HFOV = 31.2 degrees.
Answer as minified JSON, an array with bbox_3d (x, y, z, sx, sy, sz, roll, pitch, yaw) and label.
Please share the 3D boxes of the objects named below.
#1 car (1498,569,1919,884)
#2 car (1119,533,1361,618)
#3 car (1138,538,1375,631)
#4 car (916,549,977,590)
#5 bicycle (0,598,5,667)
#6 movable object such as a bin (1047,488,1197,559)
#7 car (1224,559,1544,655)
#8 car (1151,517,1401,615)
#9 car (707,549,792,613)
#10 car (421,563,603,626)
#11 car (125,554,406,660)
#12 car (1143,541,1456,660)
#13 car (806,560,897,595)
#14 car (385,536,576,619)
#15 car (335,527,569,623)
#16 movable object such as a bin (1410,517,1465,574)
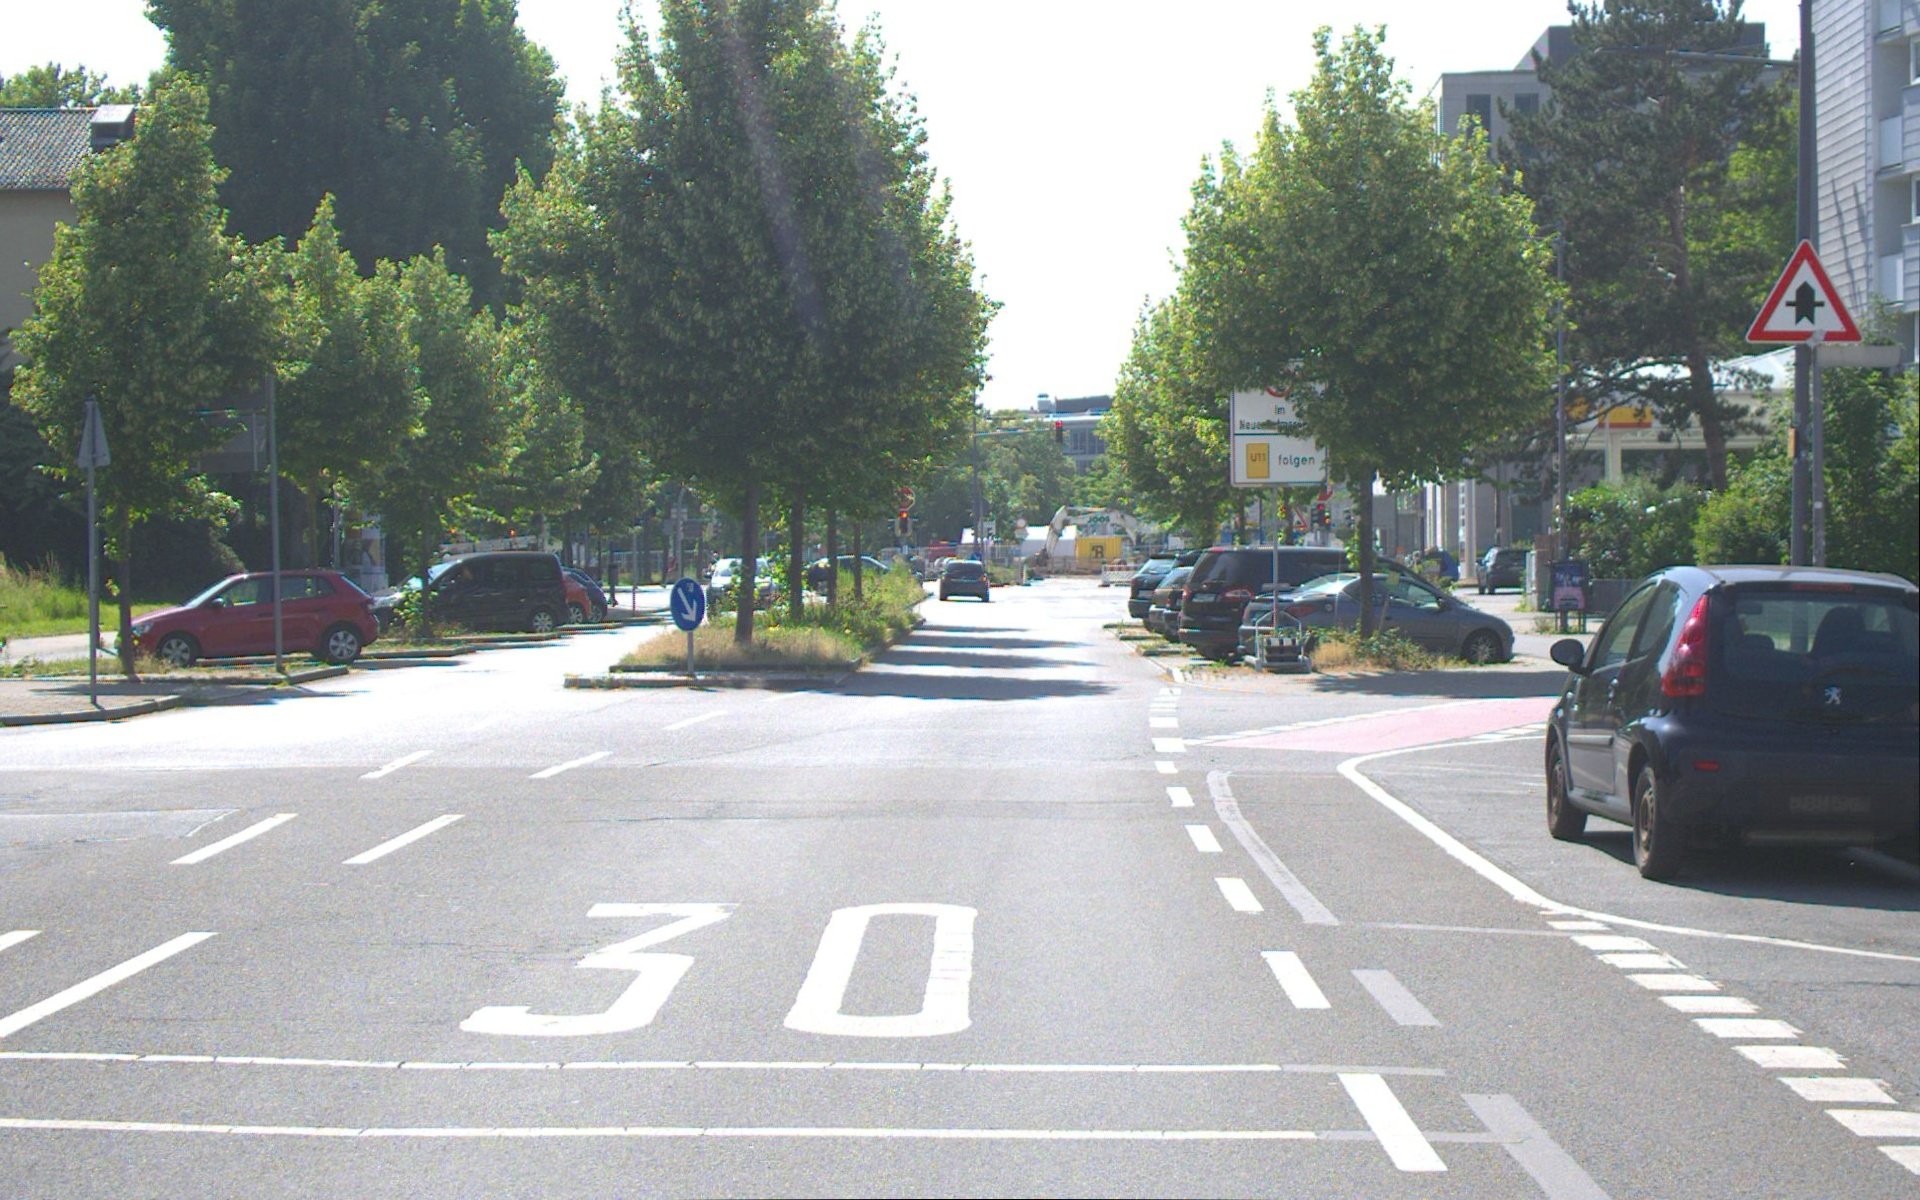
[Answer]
[{"bbox_3d":[3.883,0.550,17.338,1.617,1.385,4.000,1,1,-1],"label":"car"},{"bbox_3d":[5.649,-0.518,69.138,4.731,1.654,1.753,-1,1,-33],"label":"car"},{"bbox_3d":[5.418,-0.296,62.967,3.986,1.634,1.753,0,1,-11],"label":"car"},{"bbox_3d":[-0.495,-1.089,121.130,1.993,1.393,4.000,0,1,-2],"label":"car"},{"bbox_3d":[-12.822,0.432,44.692,0.520,0.900,1.271,-2,0,-4],"label":"bicycle"},{"bbox_3d":[10.493,-4.939,223.096,9.676,4.534,3.164,0,1,3],"label":"movable object such as a bin"},{"bbox_3d":[5.776,0.070,46.784,3.986,1.232,1.753,-1,1,-24],"label":"car"},{"bbox_3d":[5.510,-0.617,60.042,3.986,1.634,1.753,-1,2,-19],"label":"car"},{"bbox_3d":[-5.331,-0.503,87.577,1.741,1.542,4.073,-2,1,2],"label":"car"},{"bbox_3d":[-10.395,-0.142,79.845,3.830,1.418,1.715,-1,1,-34],"label":"car"},{"bbox_3d":[-10.745,0.087,53.145,3.986,1.461,2.001,-2,2,-20],"label":"car"},{"bbox_3d":[4.906,-0.020,49.584,4.107,1.634,2.044,-1,1,-32],"label":"car"},{"bbox_3d":[-4.304,-0.904,136.956,3.602,1.372,1.638,0,1,-1],"label":"car"},{"bbox_3d":[-10.492,-0.507,75.233,3.761,1.766,1.819,-1,1,-26],"label":"car"},{"bbox_3d":[-10.209,-0.532,69.149,4.176,1.810,2.004,-2,2,-36],"label":"car"},{"bbox_3d":[14.013,-1.605,100.857,1.307,1.586,1.396,-3,1,-1],"label":"movable object such as a bin"}]
